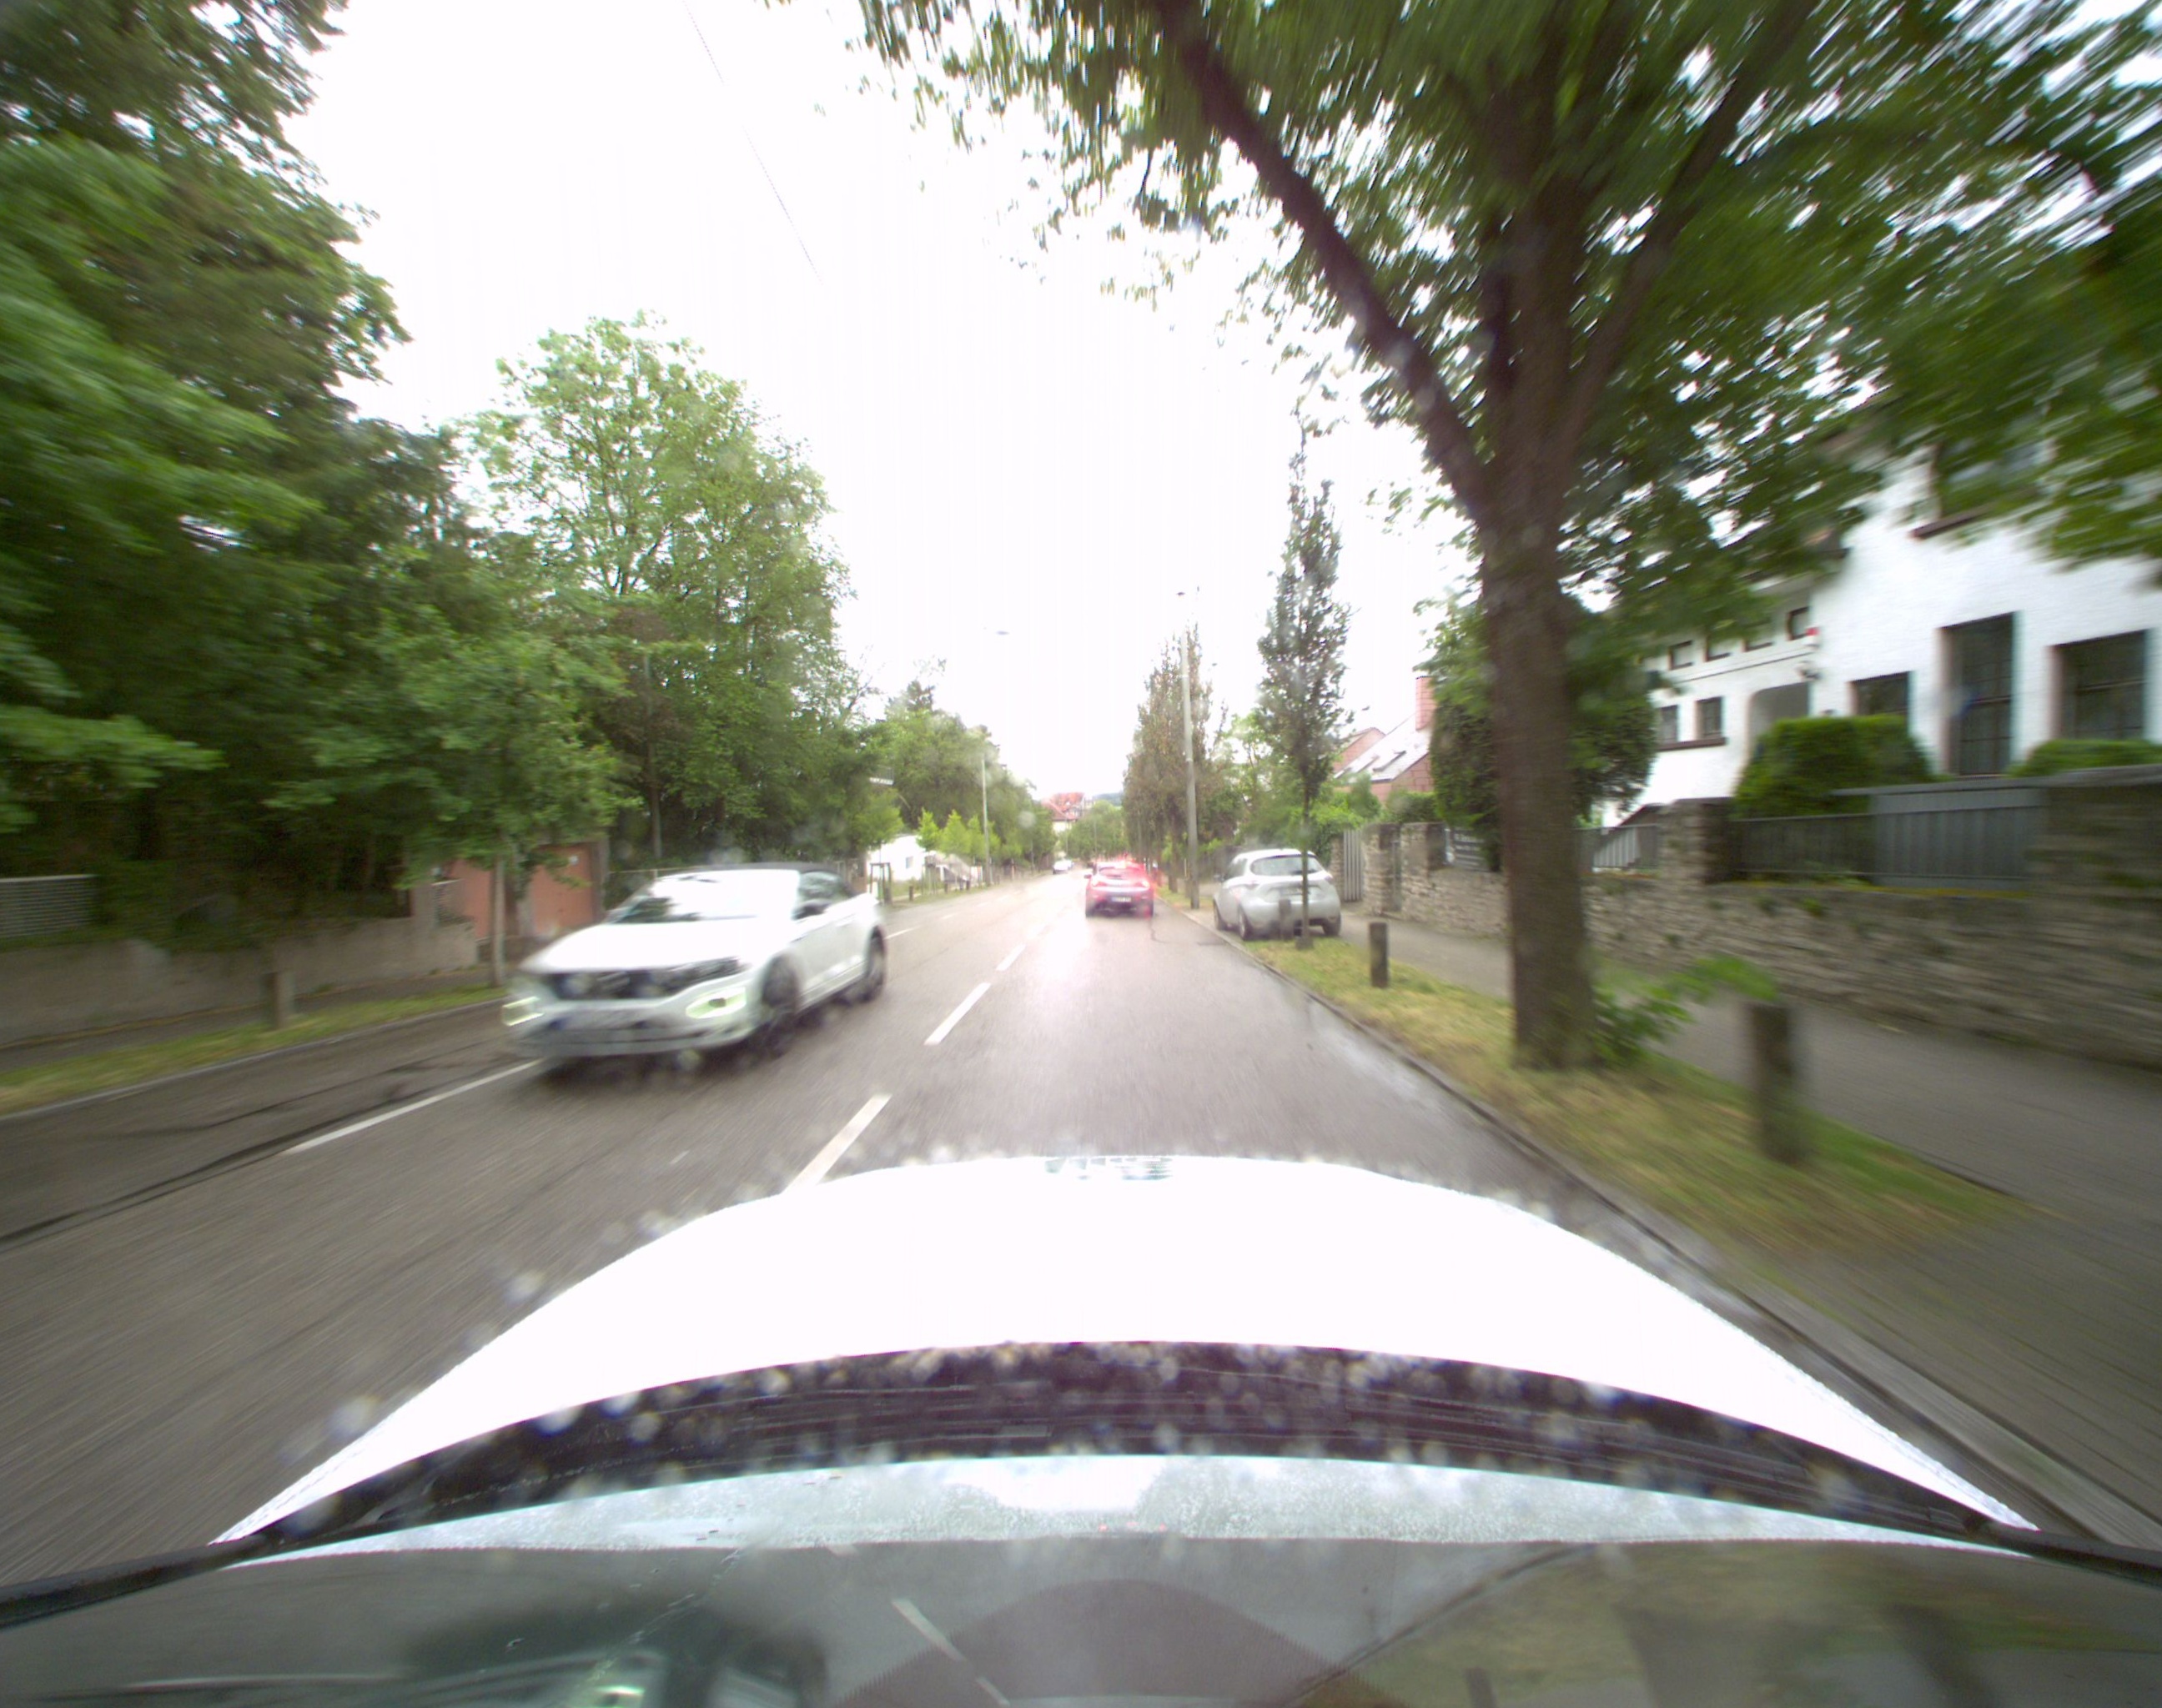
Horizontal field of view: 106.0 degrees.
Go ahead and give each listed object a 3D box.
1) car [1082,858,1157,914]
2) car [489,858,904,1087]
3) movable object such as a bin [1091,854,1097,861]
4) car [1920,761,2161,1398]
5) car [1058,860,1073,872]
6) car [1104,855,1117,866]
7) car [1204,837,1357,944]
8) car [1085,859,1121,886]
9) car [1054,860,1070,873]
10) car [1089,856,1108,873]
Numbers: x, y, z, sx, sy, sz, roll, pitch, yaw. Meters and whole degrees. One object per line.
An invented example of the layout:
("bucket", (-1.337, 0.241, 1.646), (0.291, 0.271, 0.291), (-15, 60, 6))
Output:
("car", (1.065, 0.843, 23.050), (1.938, 1.432, 3.885), (0, 0, 2))
("car", (-3.073, 0.819, 7.598), (1.787, 1.509, 4.095), (-2, 0, 2))
("movable object such as a bin", (2.505, 0.640, 157.324), (1.265, 1.387, 0.490), (-1, 1, 6))
("car", (3.521, 0.546, 0.397), (1.911, 1.567, 4.222), (-4, 2, 2))
("car", (-2.114, 1.612, 111.770), (1.738, 1.549, 3.922), (1, 0, 4))
("car", (4.949, 1.084, 135.324), (1.745, 1.651, 4.008), (1, 0, 7))
("car", (3.577, 0.600, 15.381), (1.819, 1.629, 3.999), (-4, 0, 0))
("car", (1.263, 0.997, 44.700), (1.790, 1.323, 4.004), (-1, 0, 4))
("car", (-2.326, 1.568, 100.906), (1.756, 1.486, 3.999), (-3, -1, 0))
("car", (2.000, 1.143, 92.776), (1.759, 1.781, 3.985), (1, 1, 7))
